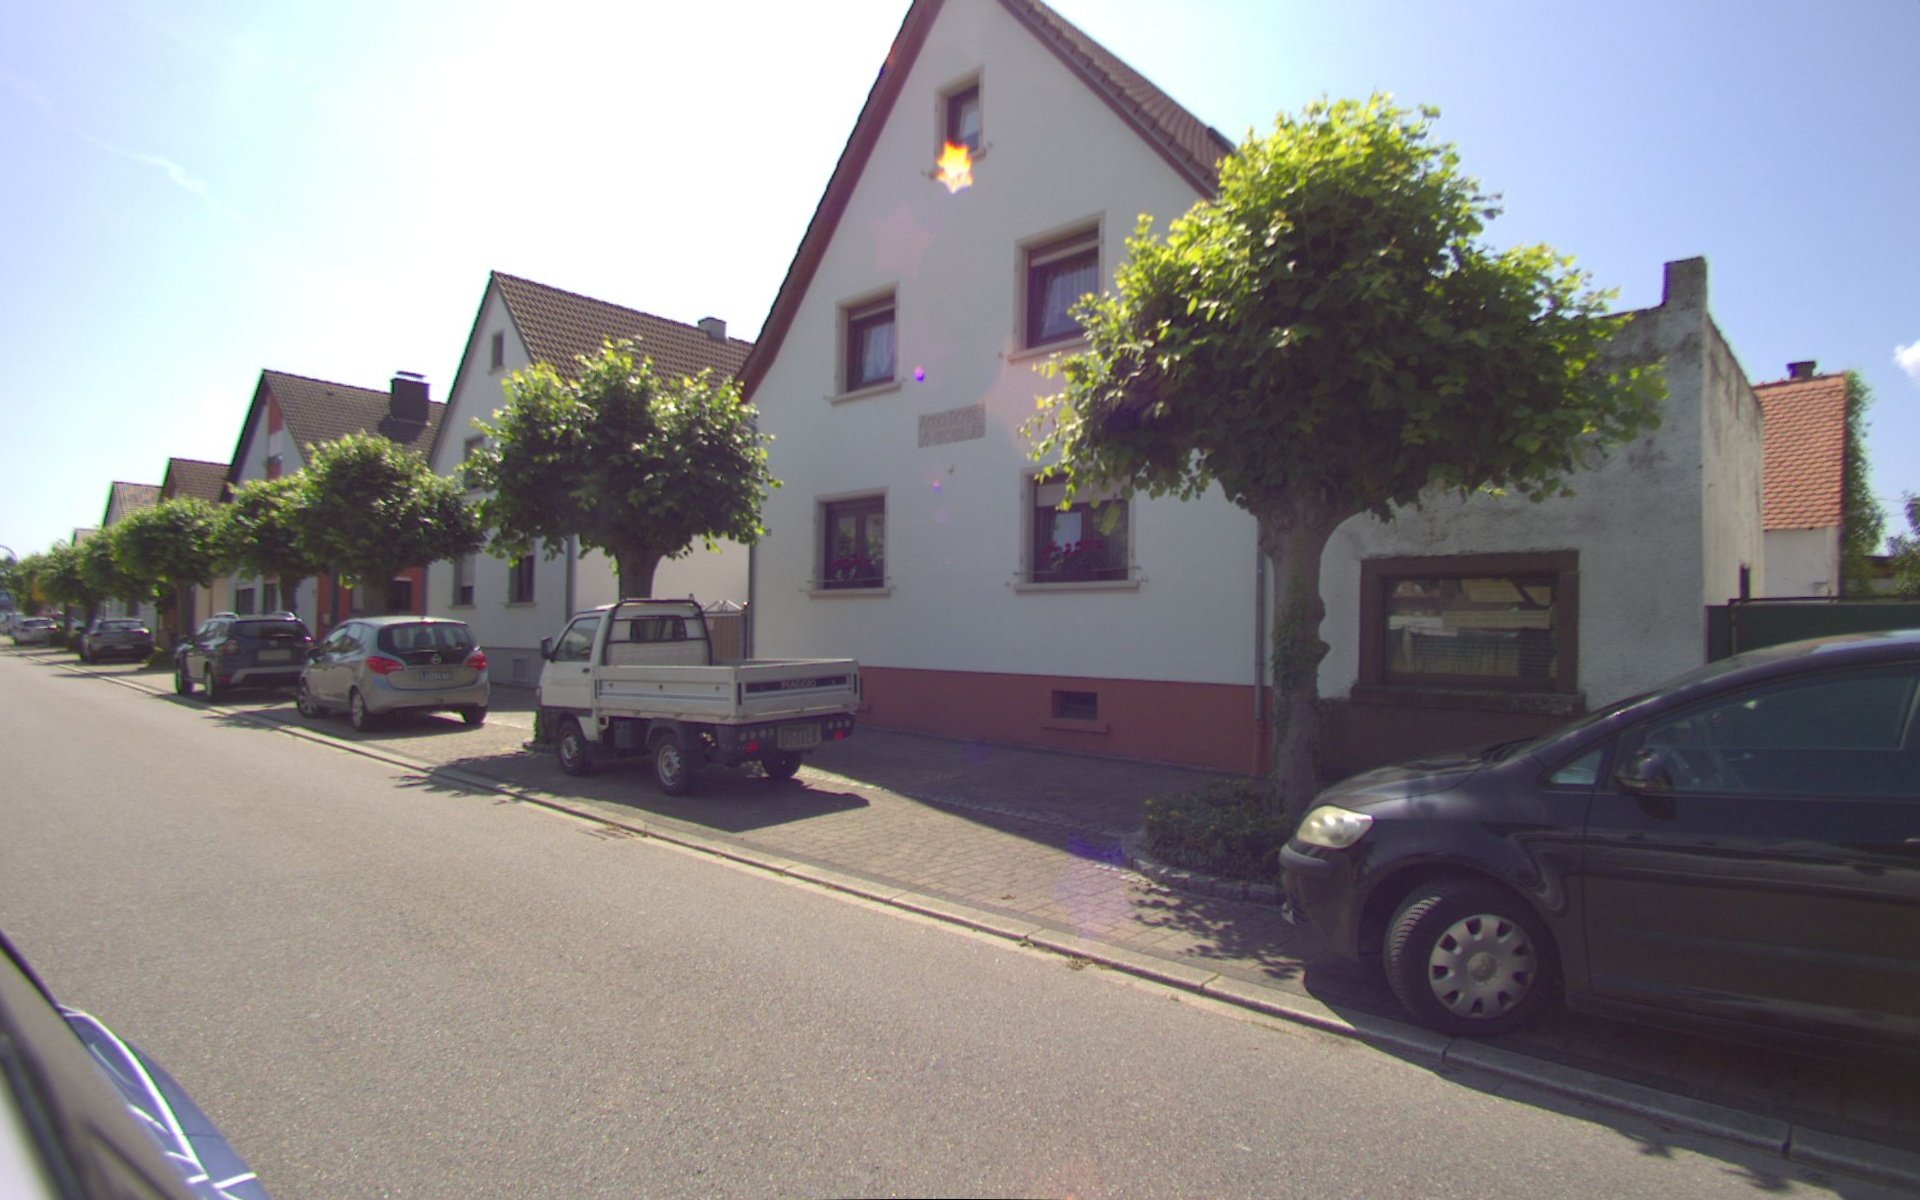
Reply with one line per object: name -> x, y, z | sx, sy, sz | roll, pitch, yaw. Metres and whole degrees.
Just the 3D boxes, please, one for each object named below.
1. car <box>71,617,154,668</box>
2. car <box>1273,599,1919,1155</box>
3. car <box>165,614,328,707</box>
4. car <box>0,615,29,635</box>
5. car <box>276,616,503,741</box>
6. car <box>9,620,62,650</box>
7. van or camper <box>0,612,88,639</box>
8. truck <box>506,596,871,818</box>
car -> -29.338, 1.423, 34.985 | 4.137, 1.625, 1.832 | -1, 0, 45
car -> 3.414, 0.828, 3.684 | 3.994, 1.646, 1.769 | -1, -1, 38
car -> -14.486, 1.156, 20.451 | 4.299, 1.649, 1.833 | -2, -1, 43
car -> -86.795, 2.239, 91.091 | 1.942, 1.732, 4.200 | -1, 0, 37
car -> -8.939, 1.079, 15.703 | 4.371, 1.625, 1.833 | -1, 0, 43
car -> -49.690, 1.853, 54.346 | 4.133, 1.494, 1.805 | -1, 0, 43
van or camper -> -68.148, 1.904, 75.316 | 1.999, 1.877, 4.689 | -2, -1, 42
truck -> -2.882, 0.886, 10.174 | 4.192, 1.778, 1.559 | -1, 0, 43
